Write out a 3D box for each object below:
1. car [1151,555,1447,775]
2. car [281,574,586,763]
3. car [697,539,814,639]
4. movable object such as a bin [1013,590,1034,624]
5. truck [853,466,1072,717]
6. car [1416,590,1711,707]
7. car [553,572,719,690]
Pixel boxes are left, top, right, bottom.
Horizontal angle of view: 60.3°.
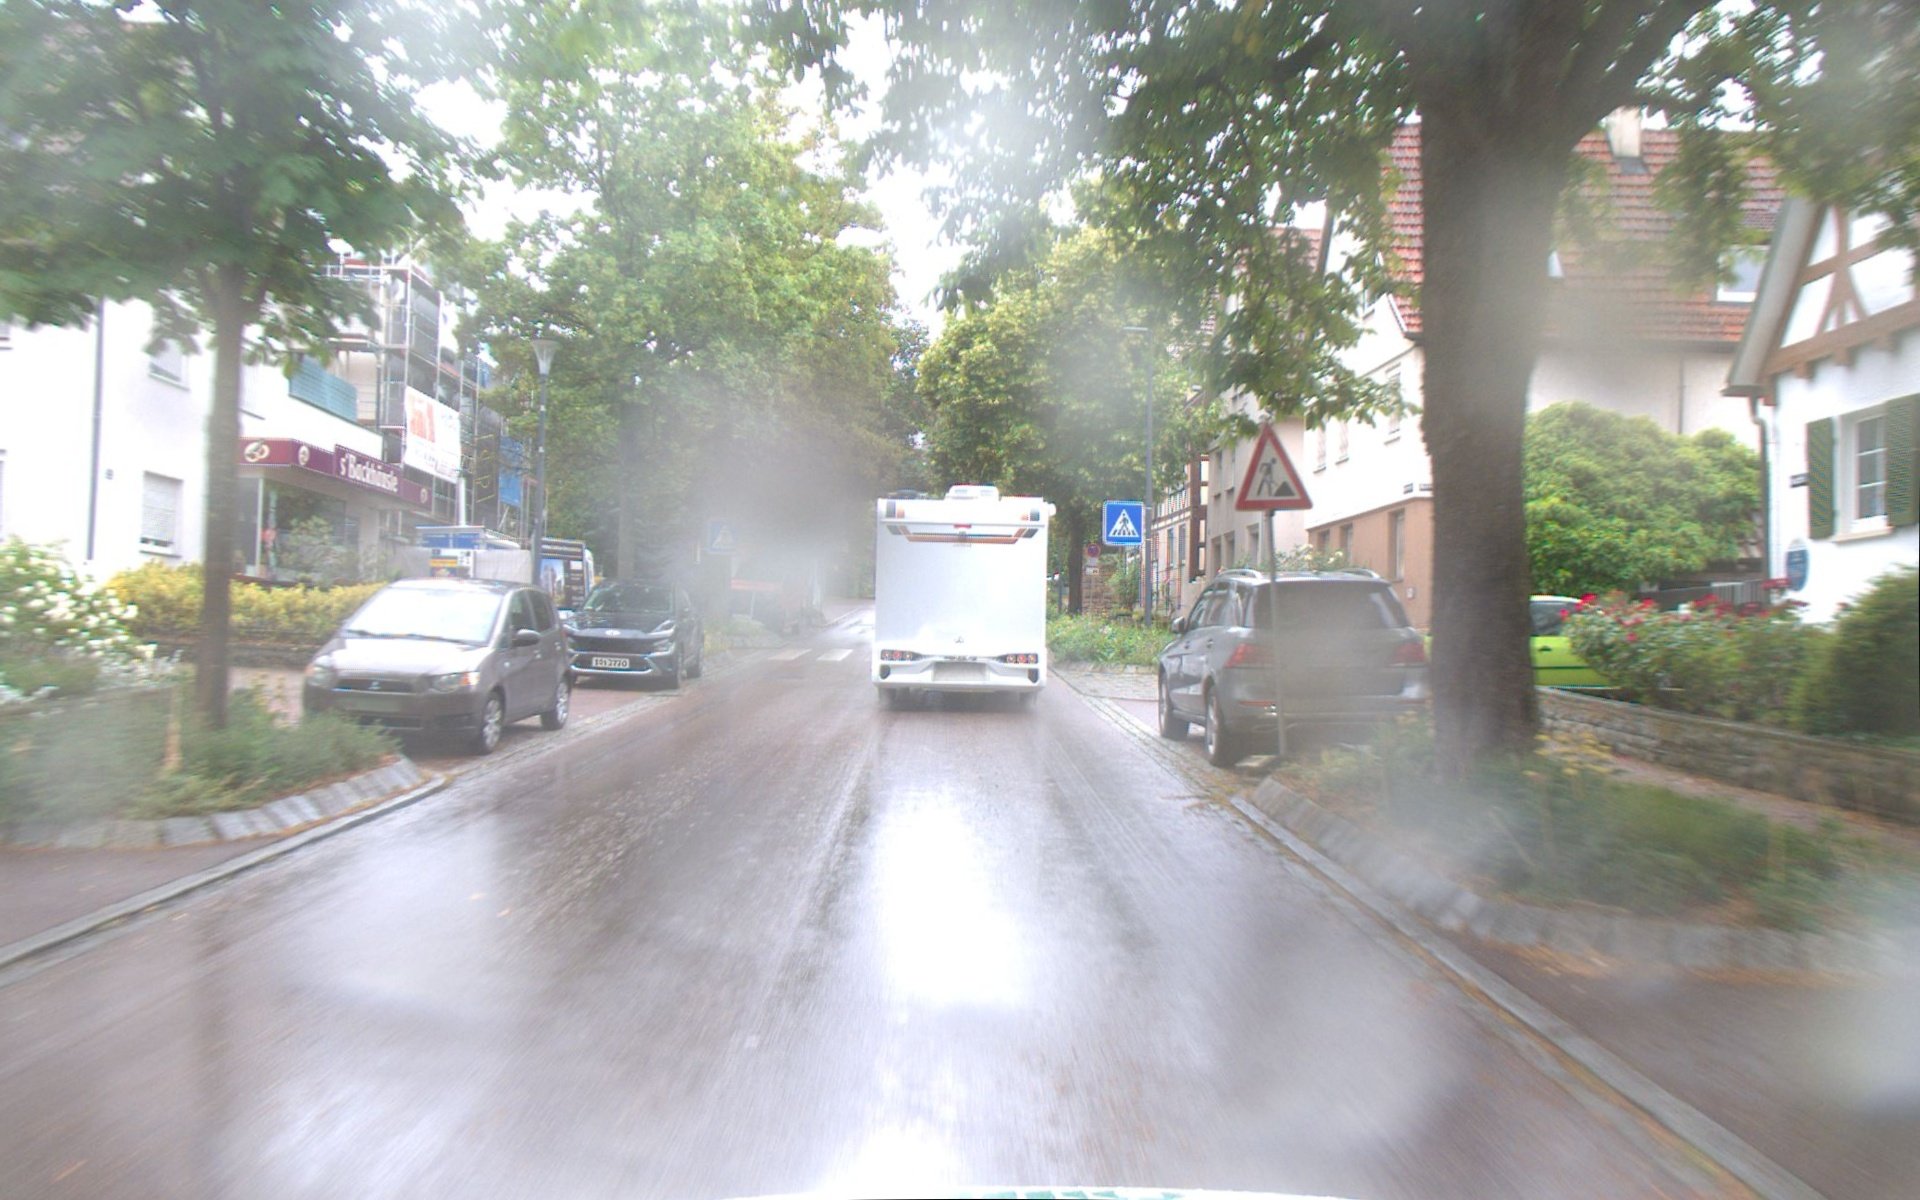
[{"bbox_3d":[3.140,0.546,16.293,1.875,1.823,4.487,1,0,-1],"label":"car"},{"bbox_3d":[-4.954,0.569,16.119,1.613,1.560,3.866,2,1,1],"label":"car"},{"bbox_3d":[-5.531,-0.336,45.588,2.256,2.526,5.787,1,1,2],"label":"car"},{"bbox_3d":[2.300,0.251,59.886,0.706,1.234,0.727,1,0,0],"label":"movable object such as a bin"},{"bbox_3d":[0.001,-0.115,23.604,2.640,3.038,6.236,1,0,-1],"label":"truck"},{"bbox_3d":[7.908,0.609,21.847,3.298,1.455,1.629,0,0,-4],"label":"car"},{"bbox_3d":[-4.866,0.409,25.358,1.735,1.580,4.000,3,1,-1],"label":"car"}]
